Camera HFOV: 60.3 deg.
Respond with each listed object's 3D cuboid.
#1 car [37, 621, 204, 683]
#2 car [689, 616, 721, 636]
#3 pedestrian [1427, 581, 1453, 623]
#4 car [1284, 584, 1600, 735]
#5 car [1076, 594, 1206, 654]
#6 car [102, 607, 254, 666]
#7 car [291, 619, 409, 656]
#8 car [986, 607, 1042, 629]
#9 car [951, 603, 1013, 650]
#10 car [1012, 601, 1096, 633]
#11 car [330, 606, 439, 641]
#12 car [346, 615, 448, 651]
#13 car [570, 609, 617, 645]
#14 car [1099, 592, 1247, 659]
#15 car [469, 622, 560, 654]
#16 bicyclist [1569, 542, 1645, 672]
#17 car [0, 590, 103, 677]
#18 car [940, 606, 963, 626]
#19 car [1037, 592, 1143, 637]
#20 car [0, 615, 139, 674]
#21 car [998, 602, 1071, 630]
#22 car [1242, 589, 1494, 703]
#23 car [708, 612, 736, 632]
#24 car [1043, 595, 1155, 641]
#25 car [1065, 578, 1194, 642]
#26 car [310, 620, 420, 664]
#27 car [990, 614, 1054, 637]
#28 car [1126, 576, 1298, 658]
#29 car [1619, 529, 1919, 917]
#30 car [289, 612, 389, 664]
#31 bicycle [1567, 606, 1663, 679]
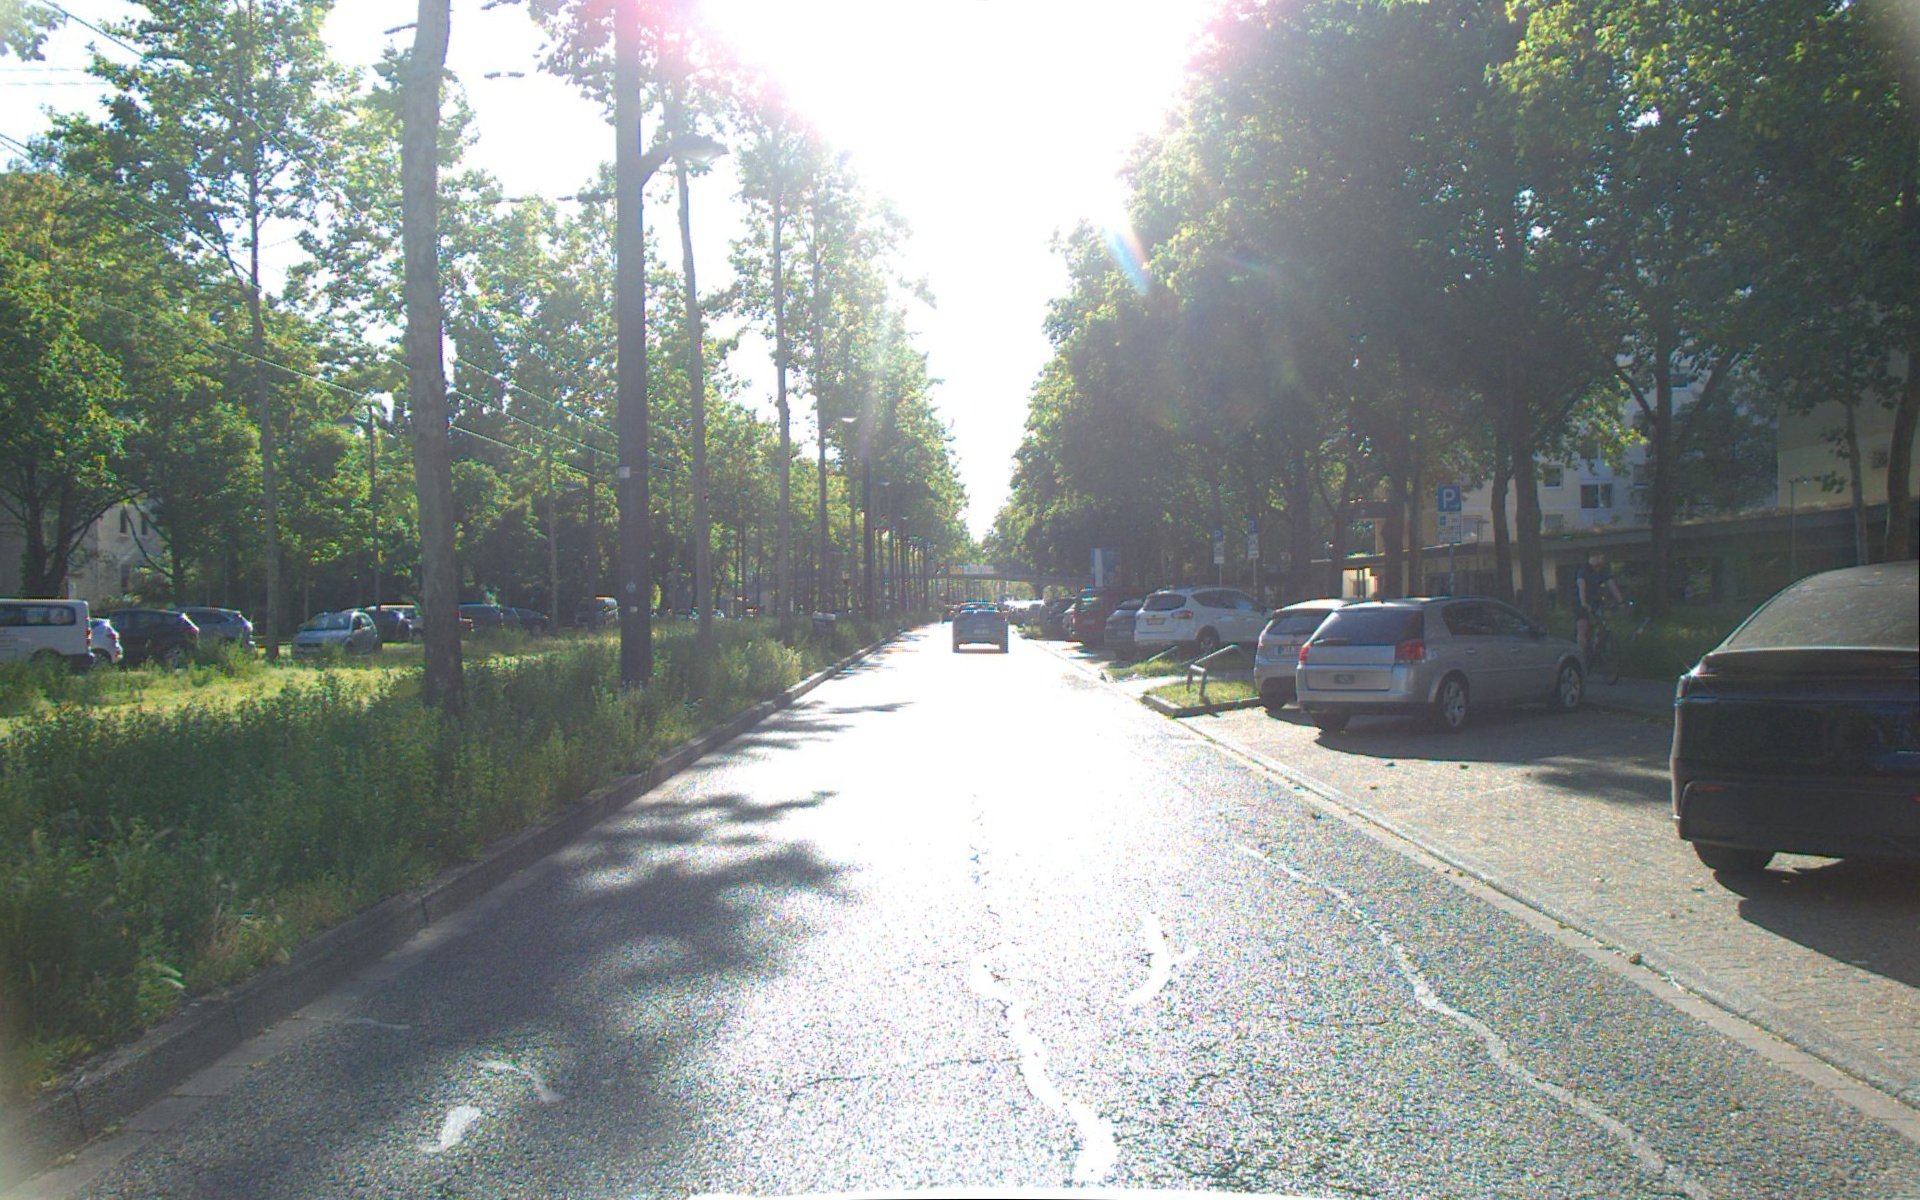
[{"bbox_3d":[-23.765,1.438,46.836,4.037,1.557,1.796,-1,1,-35],"label":"car"},{"bbox_3d":[-21.788,2.204,141.644,1.952,1.618,4.168,2,0,2],"label":"car"},{"bbox_3d":[22.409,0.107,77.157,0.856,1.947,0.870,-1,-1,-9],"label":"pedestrian"},{"bbox_3d":[5.713,0.626,19.346,4.154,1.436,1.693,-3,1,-44],"label":"car"},{"bbox_3d":[4.905,0.620,44.535,1.622,1.473,3.604,-2,0,43],"label":"car"},{"bbox_3d":[-23.863,1.088,50.497,4.032,1.635,1.974,-1,1,-32],"label":"car"},{"bbox_3d":[-24.356,1.472,66.158,4.099,1.361,1.767,-1,1,-43],"label":"car"},{"bbox_3d":[4.292,1.418,131.141,4.586,1.710,1.827,1,-1,-43],"label":"car"},{"bbox_3d":[0.651,0.804,52.551,1.883,1.436,3.999,0,0,0],"label":"car"},{"bbox_3d":[4.955,0.873,86.499,4.460,1.469,1.826,-2,0,-44],"label":"car"},{"bbox_3d":[-26.307,1.084,75.659,4.438,1.507,1.597,-1,-1,-37],"label":"car"},{"bbox_3d":[-24.765,1.444,72.860,3.890,1.513,1.767,-1,-1,-43],"label":"car"},{"bbox_3d":[-22.599,1.652,102.074,1.611,2.130,4.915,2,0,2],"label":"car"},{"bbox_3d":[5.298,0.607,40.838,3.758,1.496,1.624,-2,0,-44],"label":"car"},{"bbox_3d":[-23.829,2.026,88.567,4.451,1.596,1.767,-1,-1,-43],"label":"car"},{"bbox_3d":[9.157,0.121,23.446,0.610,1.771,1.023,-1,-4,0],"label":"bicyclist"},{"bbox_3d":[-23.512,0.796,39.968,4.751,2.041,1.866,-1,1,-39],"label":"car"},{"bbox_3d":[-0.690,1.337,138.054,1.811,1.562,3.866,-1,0,0],"label":"car"},{"bbox_3d":[5.189,0.559,65.706,4.279,1.747,1.613,-1,0,-40],"label":"car"},{"bbox_3d":[-23.774,1.167,43.134,4.036,1.457,1.560,2,0,-35],"label":"car"},{"bbox_3d":[4.354,0.907,96.151,4.297,1.449,1.826,-2,0,-44],"label":"car"},{"bbox_3d":[5.759,0.598,23.092,3.909,1.397,1.562,-2,0,-44],"label":"car"},{"bbox_3d":[-21.264,1.954,147.749,1.750,1.618,4.168,2,0,2],"label":"car"},{"bbox_3d":[5.291,0.680,62.897,4.038,1.610,1.759,-2,0,-35],"label":"car"},{"bbox_3d":[5.300,0.304,51.519,4.048,1.842,1.627,-2,0,-41],"label":"car"},{"bbox_3d":[-24.834,1.726,69.102,3.947,1.705,1.759,-1,-1,-43],"label":"car"},{"bbox_3d":[4.323,1.787,115.401,1.945,1.485,4.594,-2,-1,43],"label":"car"},{"bbox_3d":[5.818,0.366,37.914,3.993,1.735,1.734,-2,0,-42],"label":"car"},{"bbox_3d":[5.615,0.513,9.268,4.464,1.735,1.734,-2,0,-42],"label":"car"},{"bbox_3d":[-18.909,1.144,50.519,1.612,1.511,3.849,-1,-1,-1],"label":"car"},{"bbox_3d":[9.158,0.577,23.193,0.609,0.984,1.840,-1,0,0],"label":"bicycle"}]
